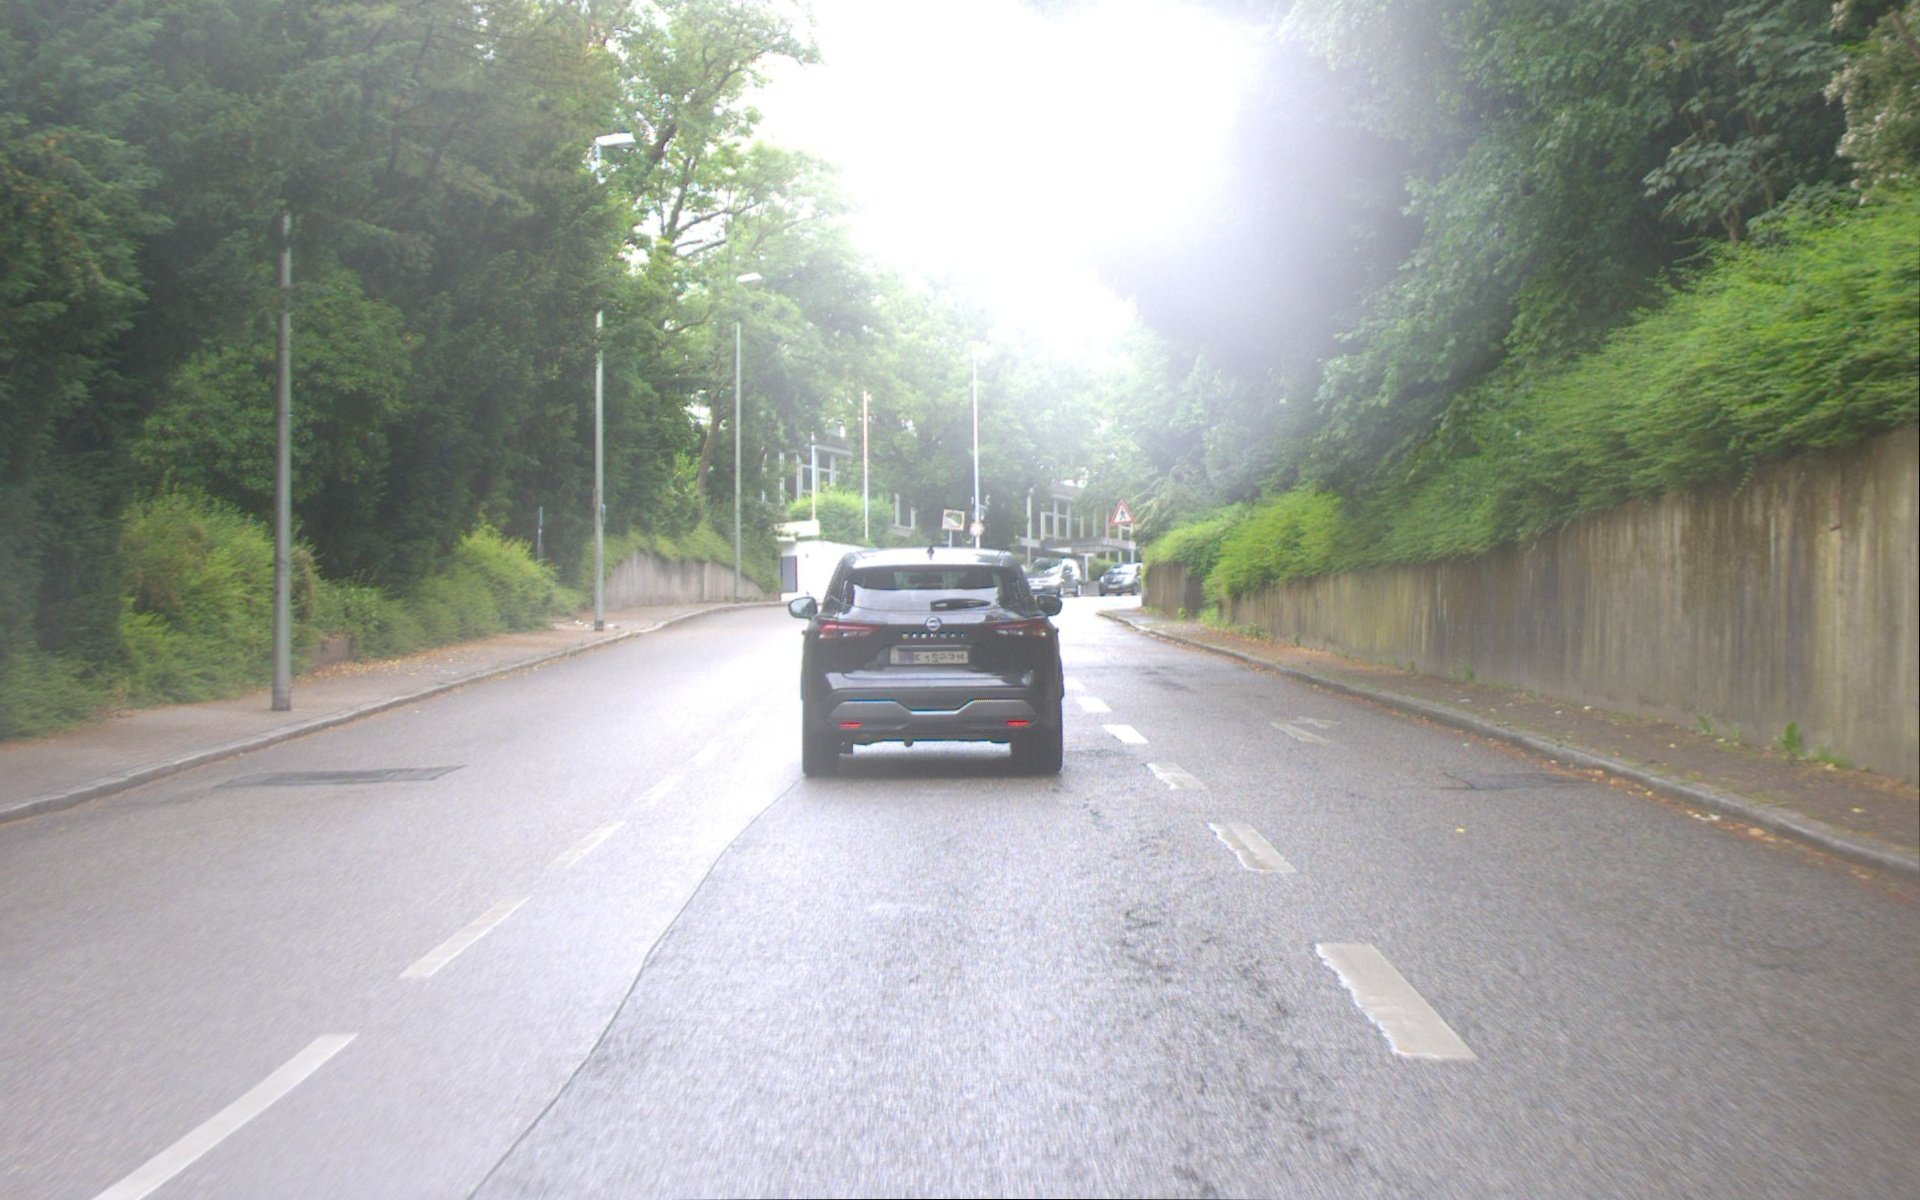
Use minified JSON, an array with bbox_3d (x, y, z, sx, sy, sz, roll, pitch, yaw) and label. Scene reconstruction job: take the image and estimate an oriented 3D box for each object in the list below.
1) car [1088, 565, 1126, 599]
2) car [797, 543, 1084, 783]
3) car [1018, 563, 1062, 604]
[{"bbox_3d":[6.619,-0.837,154.507,1.675,1.491,3.460,0,1,3],"label":"car"},{"bbox_3d":[-0.147,0.401,25.204,1.928,1.607,4.000,0,1,0],"label":"car"},{"bbox_3d":[3.379,-0.701,145.252,1.830,1.705,4.000,0,1,1],"label":"car"}]
